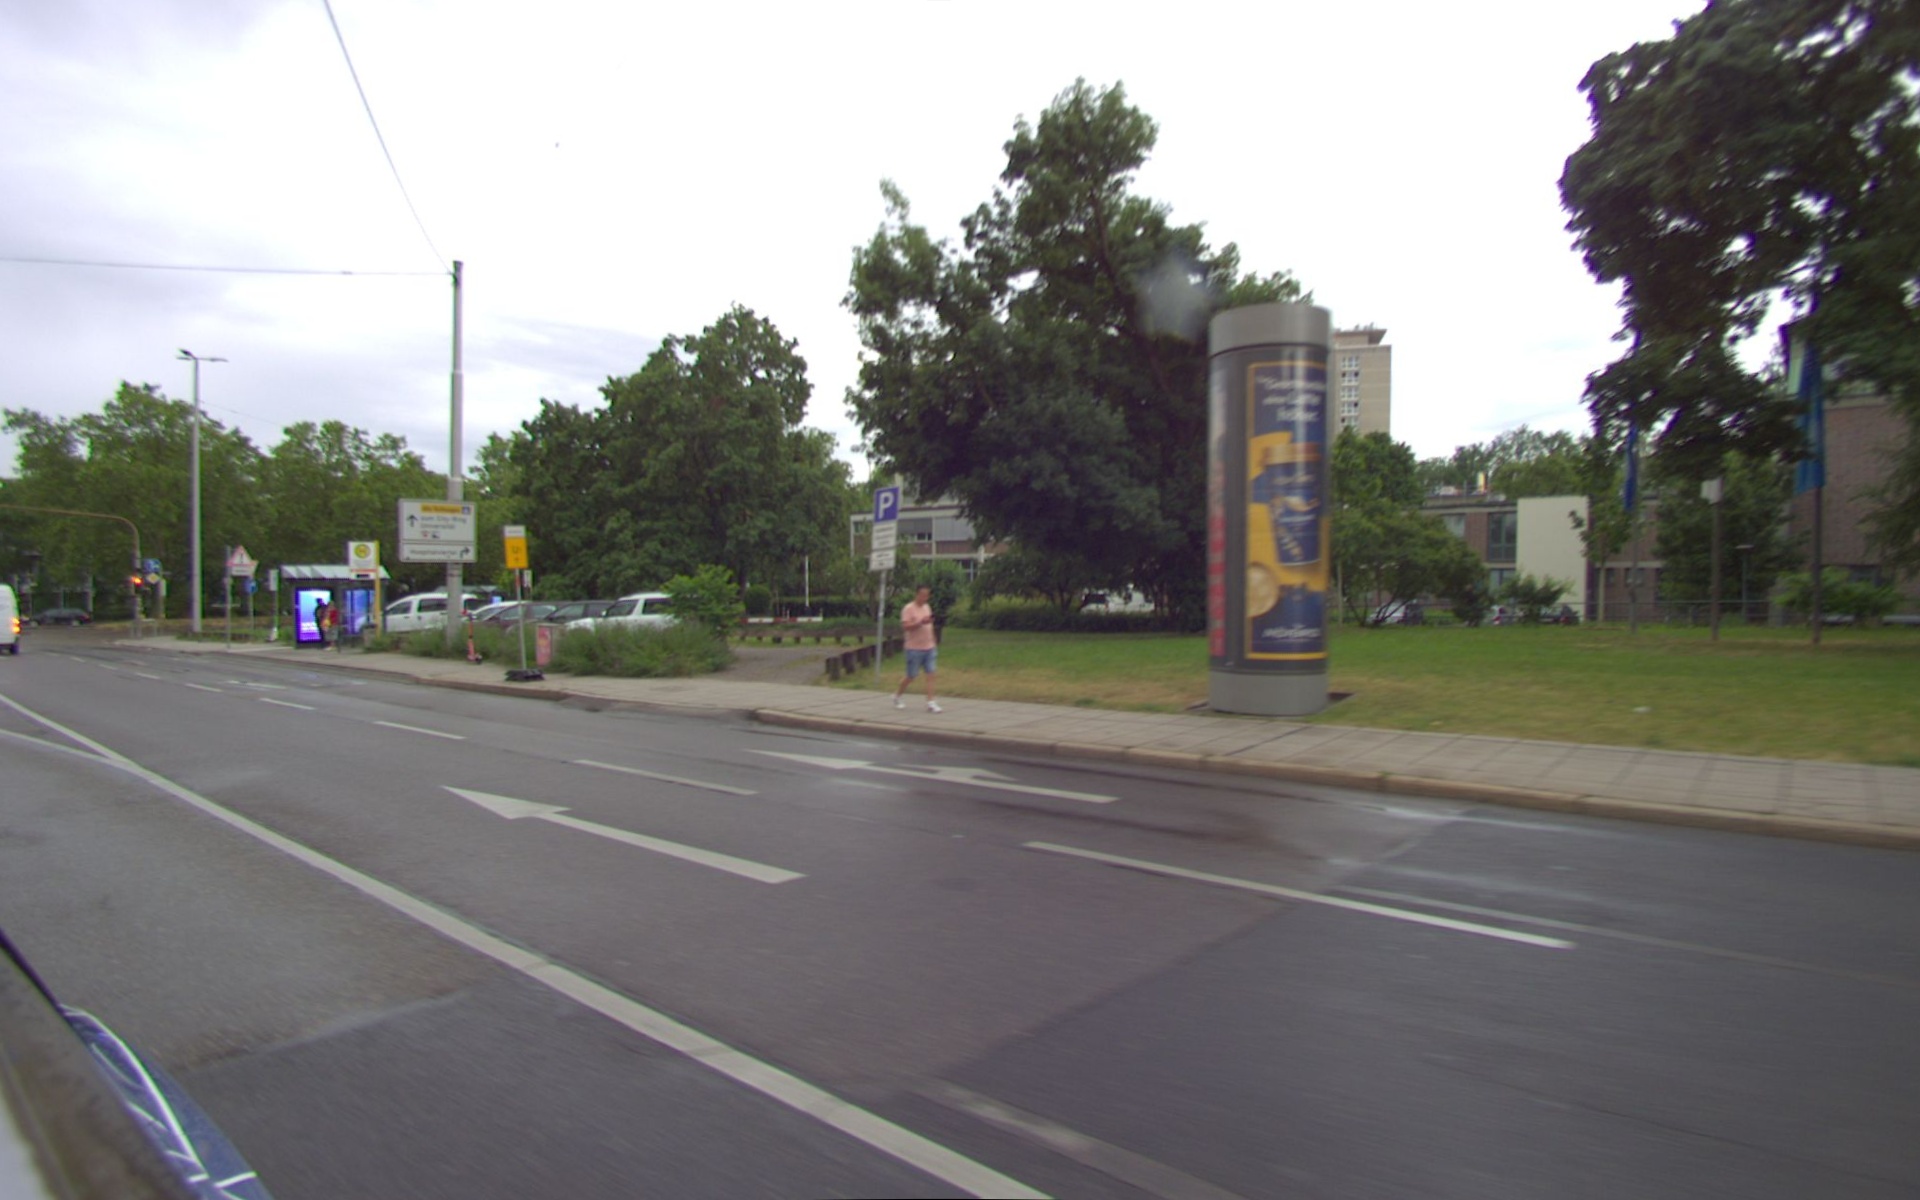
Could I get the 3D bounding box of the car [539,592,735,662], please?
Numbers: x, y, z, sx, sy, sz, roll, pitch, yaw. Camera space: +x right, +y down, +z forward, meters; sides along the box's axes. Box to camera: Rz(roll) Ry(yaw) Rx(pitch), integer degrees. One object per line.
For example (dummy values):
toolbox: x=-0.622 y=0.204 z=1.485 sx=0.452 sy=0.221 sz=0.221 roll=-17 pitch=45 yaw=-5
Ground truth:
car: x=-8.348 y=0.683 z=26.336 sx=4.474 sy=1.621 sz=1.864 roll=-1 pitch=1 yaw=8

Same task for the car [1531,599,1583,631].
car: x=28.459 y=0.672 z=48.205 sx=1.653 sy=1.360 sz=3.801 roll=0 pitch=2 yaw=38

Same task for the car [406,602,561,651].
car: x=-15.232 y=0.815 z=32.623 sx=4.305 sy=1.359 sz=1.911 roll=-2 pitch=1 yaw=-19

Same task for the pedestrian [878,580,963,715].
pedestrian: x=-0.526 y=0.596 z=13.309 sx=0.662 sy=1.699 sz=0.914 roll=-2 pitch=1 yaw=-41

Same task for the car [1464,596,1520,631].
car: x=26.435 y=0.641 z=50.239 sx=1.796 sy=1.530 sz=3.949 roll=0 pitch=2 yaw=38

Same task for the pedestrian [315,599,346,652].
pedestrian: x=-20.896 y=0.829 z=33.579 sx=0.641 sy=1.708 sz=0.622 roll=-1 pitch=1 yaw=34

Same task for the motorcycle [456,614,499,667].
motorcycle: x=-11.996 y=0.980 z=25.149 sx=1.267 sy=1.256 sz=0.509 roll=0 pitch=1 yaw=43

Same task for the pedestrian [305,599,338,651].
pedestrian: x=-21.519 y=0.822 z=34.120 sx=0.670 sy=1.708 sz=0.678 roll=-1 pitch=1 yaw=34

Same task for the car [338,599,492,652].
car: x=-20.445 y=0.933 z=38.124 sx=4.650 sy=1.768 sz=2.019 roll=-2 pitch=1 yaw=-7

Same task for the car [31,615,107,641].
car: x=-69.200 y=2.147 z=78.695 sx=4.276 sy=1.925 sz=2.082 roll=0 pitch=-1 yaw=-37

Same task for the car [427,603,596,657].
car: x=-13.482 y=0.860 z=30.628 sx=4.504 sy=1.359 sz=1.911 roll=-2 pitch=1 yaw=-24

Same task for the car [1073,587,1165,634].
car: x=10.277 y=0.618 z=65.035 sx=2.741 sy=2.781 sz=6.123 roll=0 pitch=2 yaw=45

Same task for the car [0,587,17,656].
car: x=-37.832 y=0.845 z=38.662 sx=5.626 sy=2.548 sz=1.963 roll=-1 pitch=-1 yaw=40

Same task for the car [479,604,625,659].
car: x=-11.517 y=0.854 z=28.785 sx=3.539 sy=1.359 sz=1.847 roll=-2 pitch=1 yaw=-10

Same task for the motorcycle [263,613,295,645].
motorcycle: x=-27.589 y=1.175 z=41.026 sx=1.261 sy=1.256 sz=0.511 roll=-1 pitch=1 yaw=28
